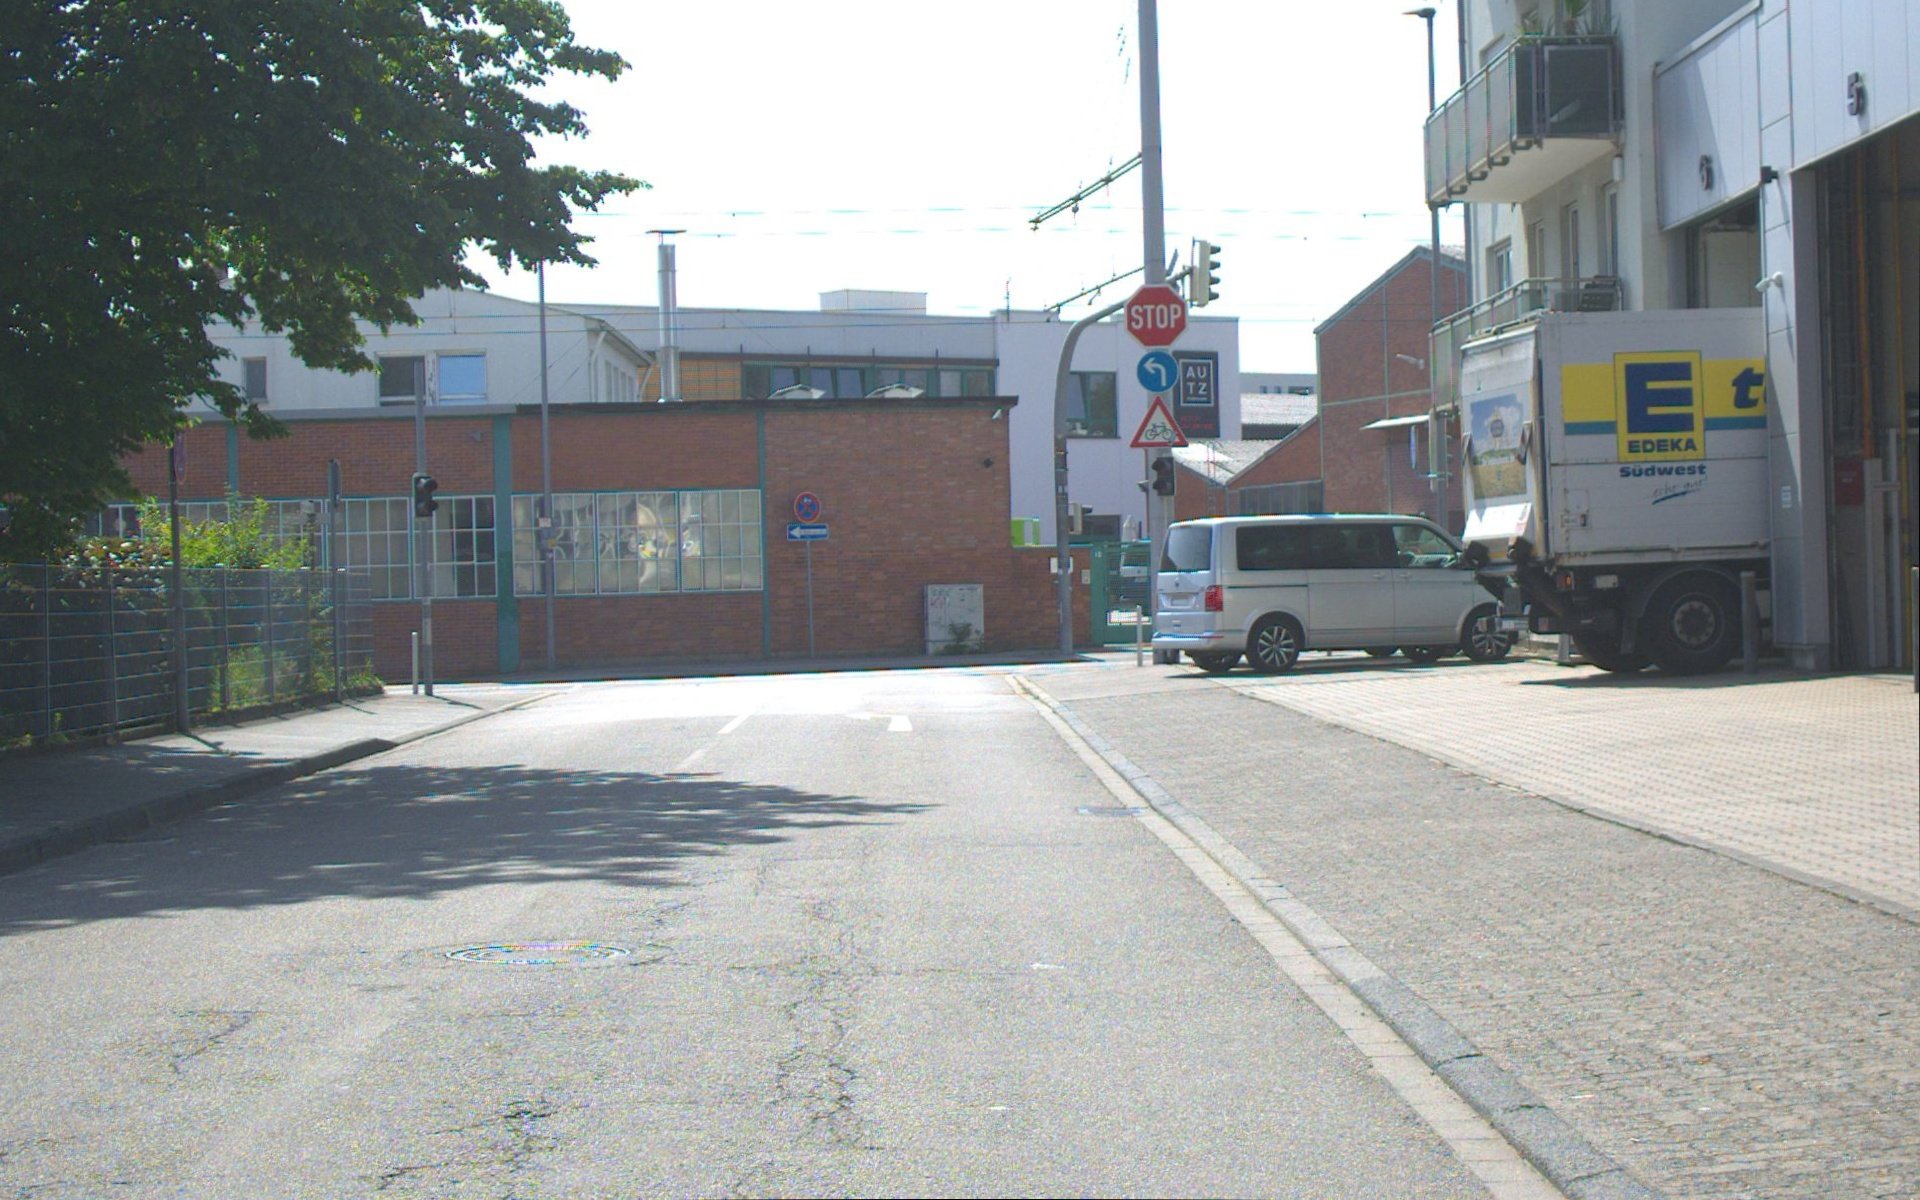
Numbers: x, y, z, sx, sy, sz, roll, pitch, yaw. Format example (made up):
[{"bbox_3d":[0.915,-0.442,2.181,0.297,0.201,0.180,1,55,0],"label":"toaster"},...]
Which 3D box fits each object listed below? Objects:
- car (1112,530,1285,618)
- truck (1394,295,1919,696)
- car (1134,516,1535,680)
[{"bbox_3d":[6.159,-0.668,88.729,3.987,2.182,2.000,-1,0,-32],"label":"car"},{"bbox_3d":[8.503,-1.139,35.279,7.357,3.633,2.768,-4,1,-6],"label":"truck"},{"bbox_3d":[4.751,-0.041,43.647,4.653,1.951,1.917,-1,0,-19],"label":"car"}]
